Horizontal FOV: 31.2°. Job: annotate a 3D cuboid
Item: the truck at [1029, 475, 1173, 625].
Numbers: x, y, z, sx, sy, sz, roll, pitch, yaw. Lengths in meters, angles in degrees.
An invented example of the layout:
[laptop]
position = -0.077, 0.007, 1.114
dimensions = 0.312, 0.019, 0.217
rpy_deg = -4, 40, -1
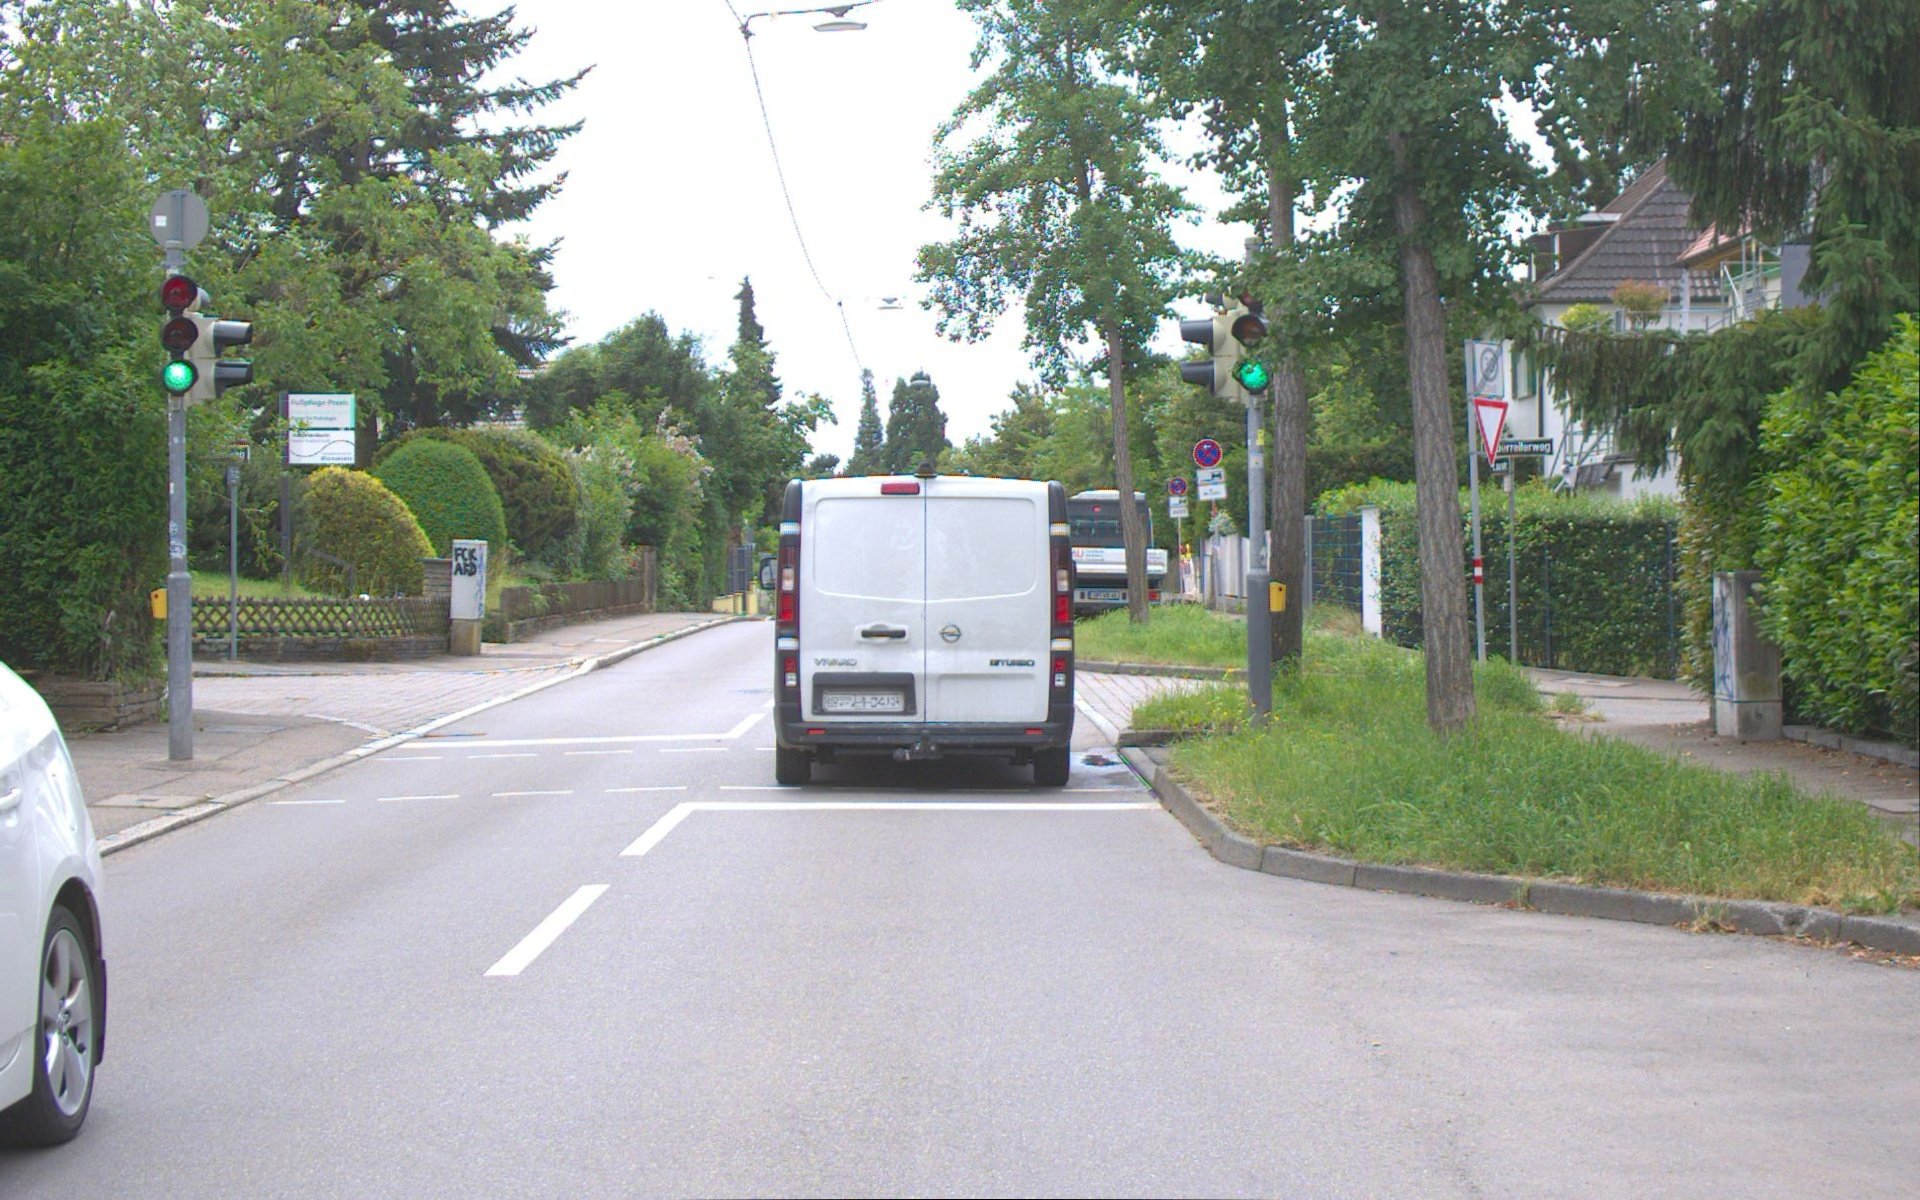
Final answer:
[truck]
position = 2.401, -0.876, 60.602
dimensions = 2.187, 2.463, 7.431
rpy_deg = 1, 1, 0

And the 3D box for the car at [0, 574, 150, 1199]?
[car]
position = -3.112, 0.728, 7.205
dimensions = 1.854, 1.446, 4.282
rpy_deg = -2, 1, -1

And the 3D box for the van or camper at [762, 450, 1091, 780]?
[van or camper]
position = -0.227, 0.104, 22.841
dimensions = 1.939, 1.947, 4.765
rpy_deg = 0, 0, -1
